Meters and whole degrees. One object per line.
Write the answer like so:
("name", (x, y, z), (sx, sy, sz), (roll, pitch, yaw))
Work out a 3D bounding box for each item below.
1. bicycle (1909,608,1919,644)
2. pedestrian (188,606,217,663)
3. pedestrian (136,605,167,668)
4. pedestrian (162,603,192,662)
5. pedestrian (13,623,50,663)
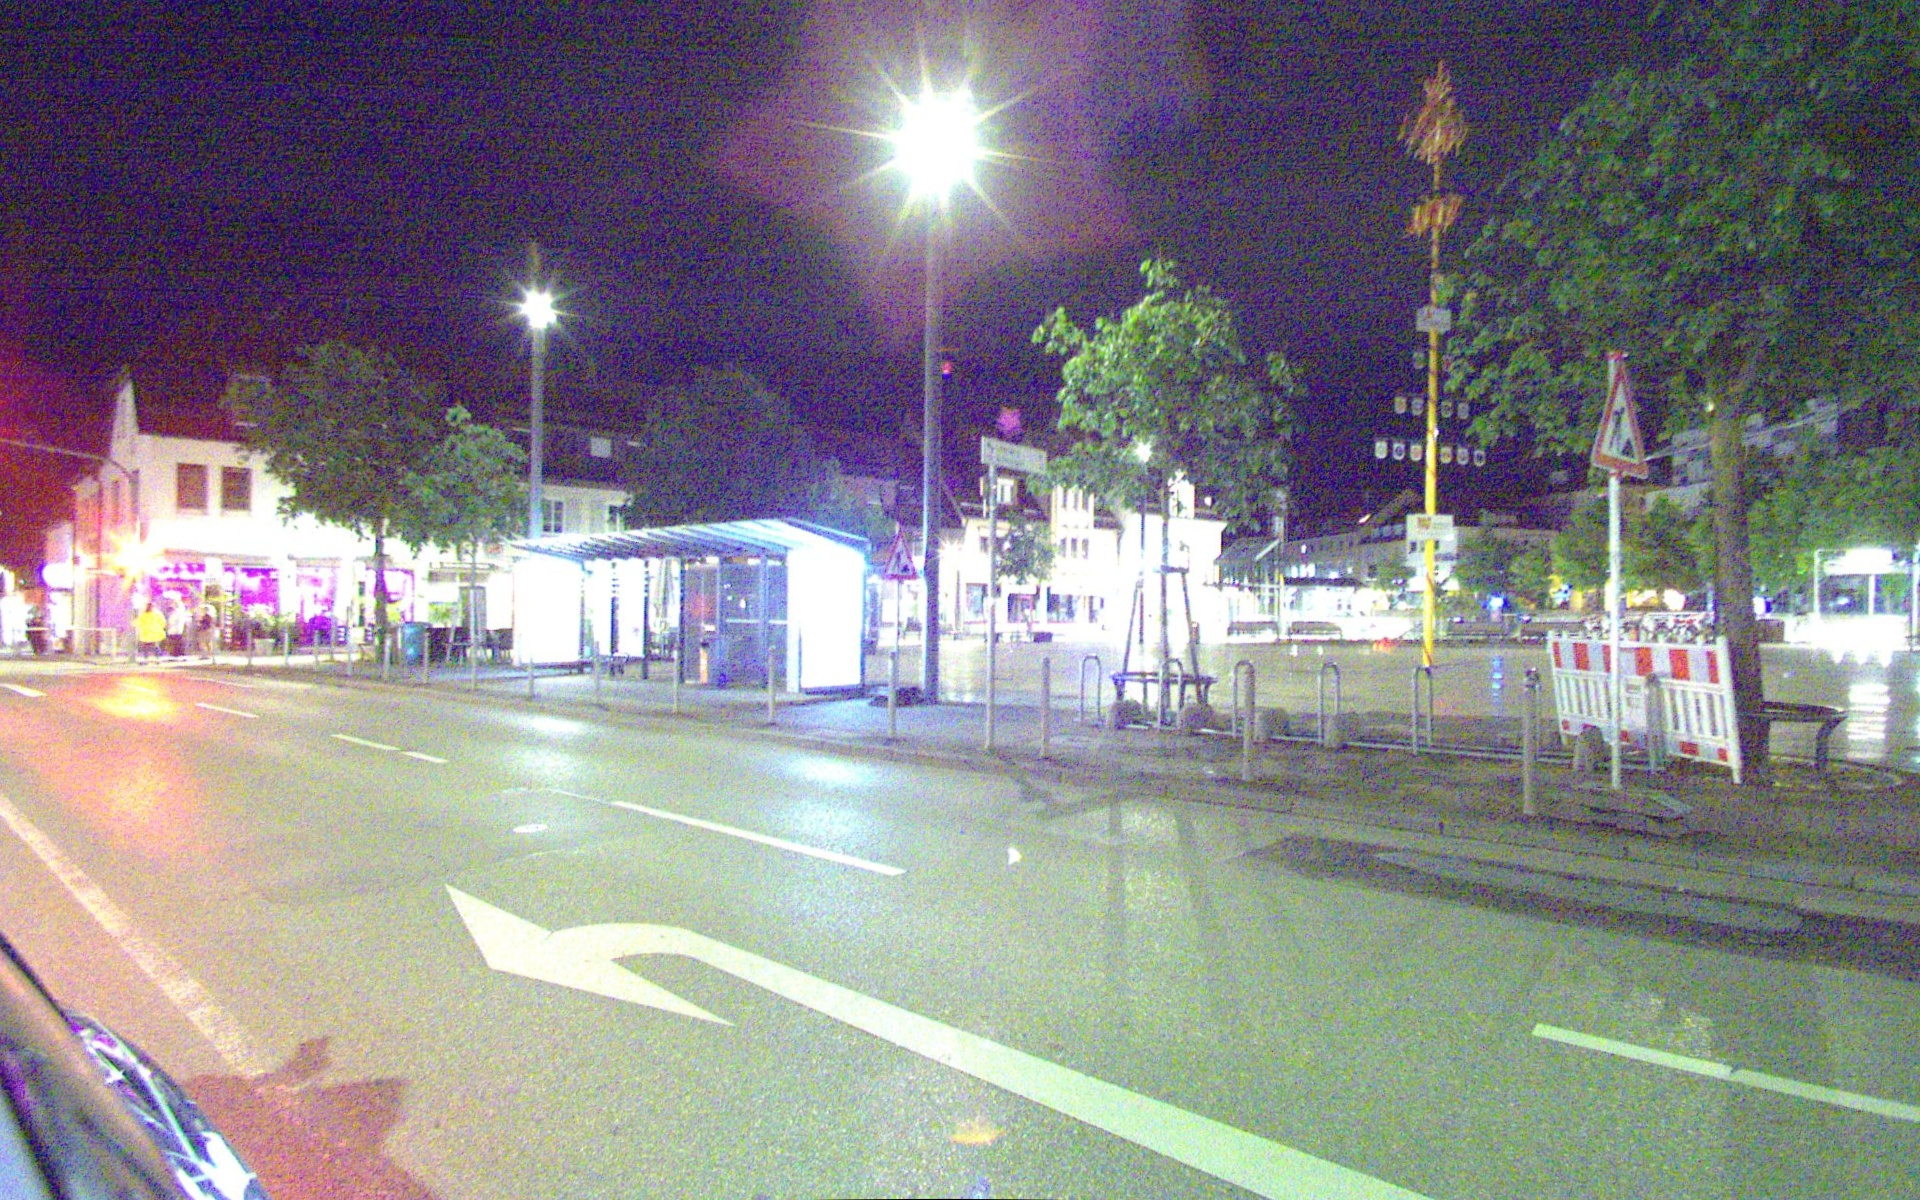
("bicycle", (26.413, 0.694, 26.974), (1.525, 0.965, 0.476), (-1, 0, 25))
("pedestrian", (-22.230, 1.006, 29.709), (0.573, 1.640, 0.649), (-1, 0, -27))
("pedestrian", (-22.198, 0.980, 27.803), (0.531, 1.694, 0.649), (-1, 0, -27))
("pedestrian", (-22.742, 0.931, 29.403), (0.573, 1.694, 0.649), (-1, 0, -27))
("pedestrian", (-35.412, 1.630, 38.617), (0.815, 1.507, 0.649), (1, -2, -18))
